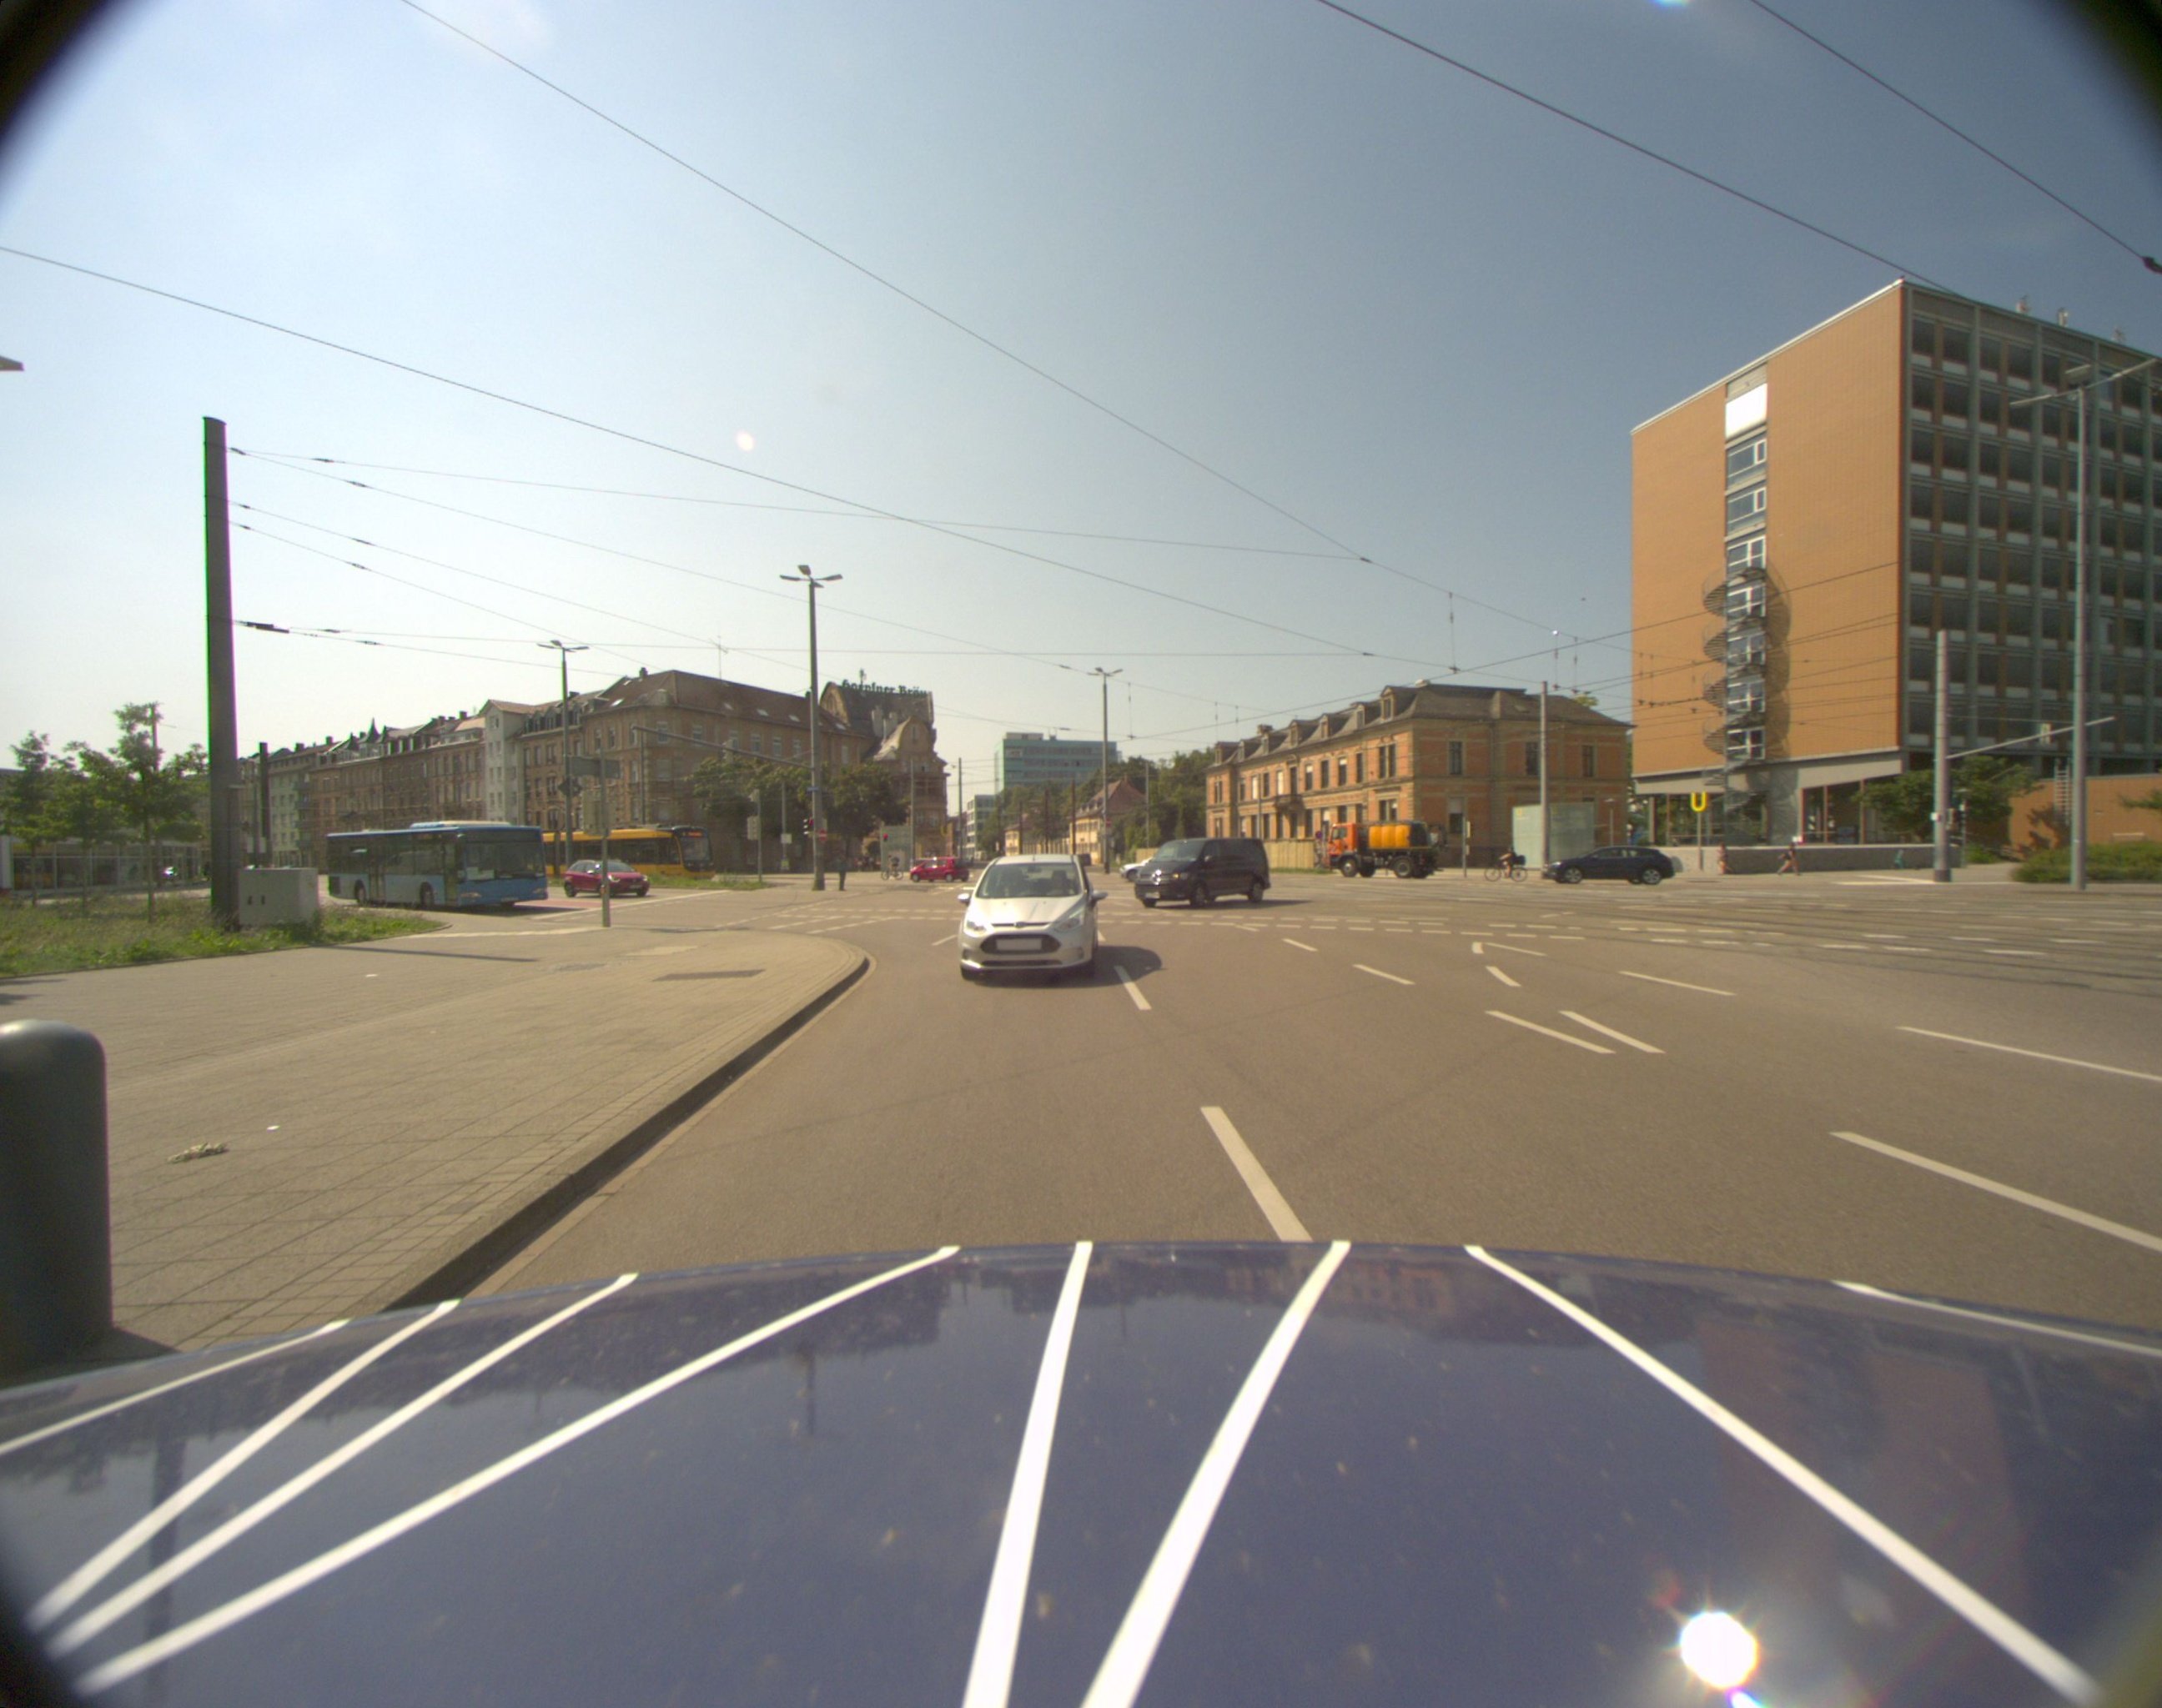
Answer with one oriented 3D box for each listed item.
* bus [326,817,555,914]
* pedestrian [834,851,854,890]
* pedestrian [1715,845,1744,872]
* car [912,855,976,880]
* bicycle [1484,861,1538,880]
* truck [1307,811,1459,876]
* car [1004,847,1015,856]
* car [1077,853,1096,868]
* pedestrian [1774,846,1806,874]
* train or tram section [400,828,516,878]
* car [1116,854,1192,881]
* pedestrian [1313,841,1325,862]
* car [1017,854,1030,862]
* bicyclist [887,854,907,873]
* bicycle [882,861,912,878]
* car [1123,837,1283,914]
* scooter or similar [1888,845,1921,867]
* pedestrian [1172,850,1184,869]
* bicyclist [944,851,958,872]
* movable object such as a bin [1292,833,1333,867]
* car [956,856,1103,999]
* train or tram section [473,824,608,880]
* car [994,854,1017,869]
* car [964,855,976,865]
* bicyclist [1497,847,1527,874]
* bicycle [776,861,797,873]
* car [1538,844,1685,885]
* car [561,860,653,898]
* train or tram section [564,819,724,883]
[{"bbox_3d":[-24.093,0.413,28.244,12.048,3.047,2.739,-1,1,31],"label":"bus"},{"bbox_3d":[-10.243,0.715,32.857,0.719,1.677,0.804,-1,0,-9],"label":"pedestrian"},{"bbox_3d":[33.583,0.211,39.373,0.848,1.387,0.787,-1,1,0],"label":"pedestrian"},{"bbox_3d":[-7.930,0.782,43.896,3.350,1.400,1.520,-1,0,26],"label":"car"},{"bbox_3d":[20.464,0.799,36.208,2.165,0.894,0.642,-1,1,20],"label":"bicycle"},{"bbox_3d":[16.547,-0.453,42.045,3.048,3.209,7.172,0,-1,-40],"label":"truck"},{"bbox_3d":[-15.975,-0.647,170.323,2.000,1.892,3.997,-1,-1,-11],"label":"car"},{"bbox_3d":[0.792,0.860,106.073,2.000,2.001,3.998,-1,-1,-8],"label":"car"},{"bbox_3d":[35.564,0.291,38.115,0.848,1.387,0.787,-1,1,0],"label":"pedestrian"},{"bbox_3d":[-48.052,-0.044,58.433,12.183,3.540,2.600,0,1,30],"label":"train or tram section"},{"bbox_3d":[3.712,0.680,38.586,3.499,1.331,1.520,-1,1,22],"label":"car"},{"bbox_3d":[18.562,-0.184,59.247,0.684,1.662,0.686,0,1,44],"label":"pedestrian"},{"bbox_3d":[-11.562,0.810,152.735,2.000,1.673,3.997,-1,-1,-11],"label":"car"},{"bbox_3d":[-12.296,0.633,50.816,0.862,1.227,1.103,0,1,18],"label":"bicyclist"},{"bbox_3d":[-12.301,1.005,50.760,1.851,1.105,0.714,-1,1,16],"label":"bicycle"},{"bbox_3d":[3.669,0.529,22.219,4.894,1.920,1.895,-3,3,-41],"label":"car"},{"bbox_3d":[43.307,0.095,39.953,1.143,1.150,0.443,-1,1,12],"label":"scooter or similar"},{"bbox_3d":[6.951,0.402,54.260,0.815,1.343,0.720,-1,1,5],"label":"pedestrian"},{"bbox_3d":[-9.093,0.511,53.055,0.642,1.472,0.659,0,1,24],"label":"bicyclist"},{"bbox_3d":[19.154,-0.329,63.084,1.817,2.656,4.454,-1,1,-3],"label":"movable object such as a bin"},{"bbox_3d":[-0.798,0.866,11.074,1.692,1.586,4.358,-1,1,-5],"label":"car"},{"bbox_3d":[-37.458,-0.104,52.414,12.183,3.540,2.600,0,1,30],"label":"train or tram section"},{"bbox_3d":[-6.774,0.687,68.026,1.588,1.280,3.723,0,-1,-13],"label":"car"},{"bbox_3d":[-16.486,0.925,112.622,1.376,1.389,3.252,-1,-1,-17],"label":"car"},{"bbox_3d":[20.564,0.321,36.259,1.103,1.259,0.858,0,1,21],"label":"bicyclist"},{"bbox_3d":[-24.380,1.084,62.848,0.461,0.952,1.791,0,1,24],"label":"bicycle"},{"bbox_3d":[22.171,0.419,31.983,4.689,1.631,2.003,-1,1,18],"label":"car"},{"bbox_3d":[-19.833,1.037,31.769,3.761,1.463,1.633,-1,1,30],"label":"car"},{"bbox_3d":[-26.869,-0.166,46.385,12.183,3.540,2.600,0,1,30],"label":"train or tram section"}]
